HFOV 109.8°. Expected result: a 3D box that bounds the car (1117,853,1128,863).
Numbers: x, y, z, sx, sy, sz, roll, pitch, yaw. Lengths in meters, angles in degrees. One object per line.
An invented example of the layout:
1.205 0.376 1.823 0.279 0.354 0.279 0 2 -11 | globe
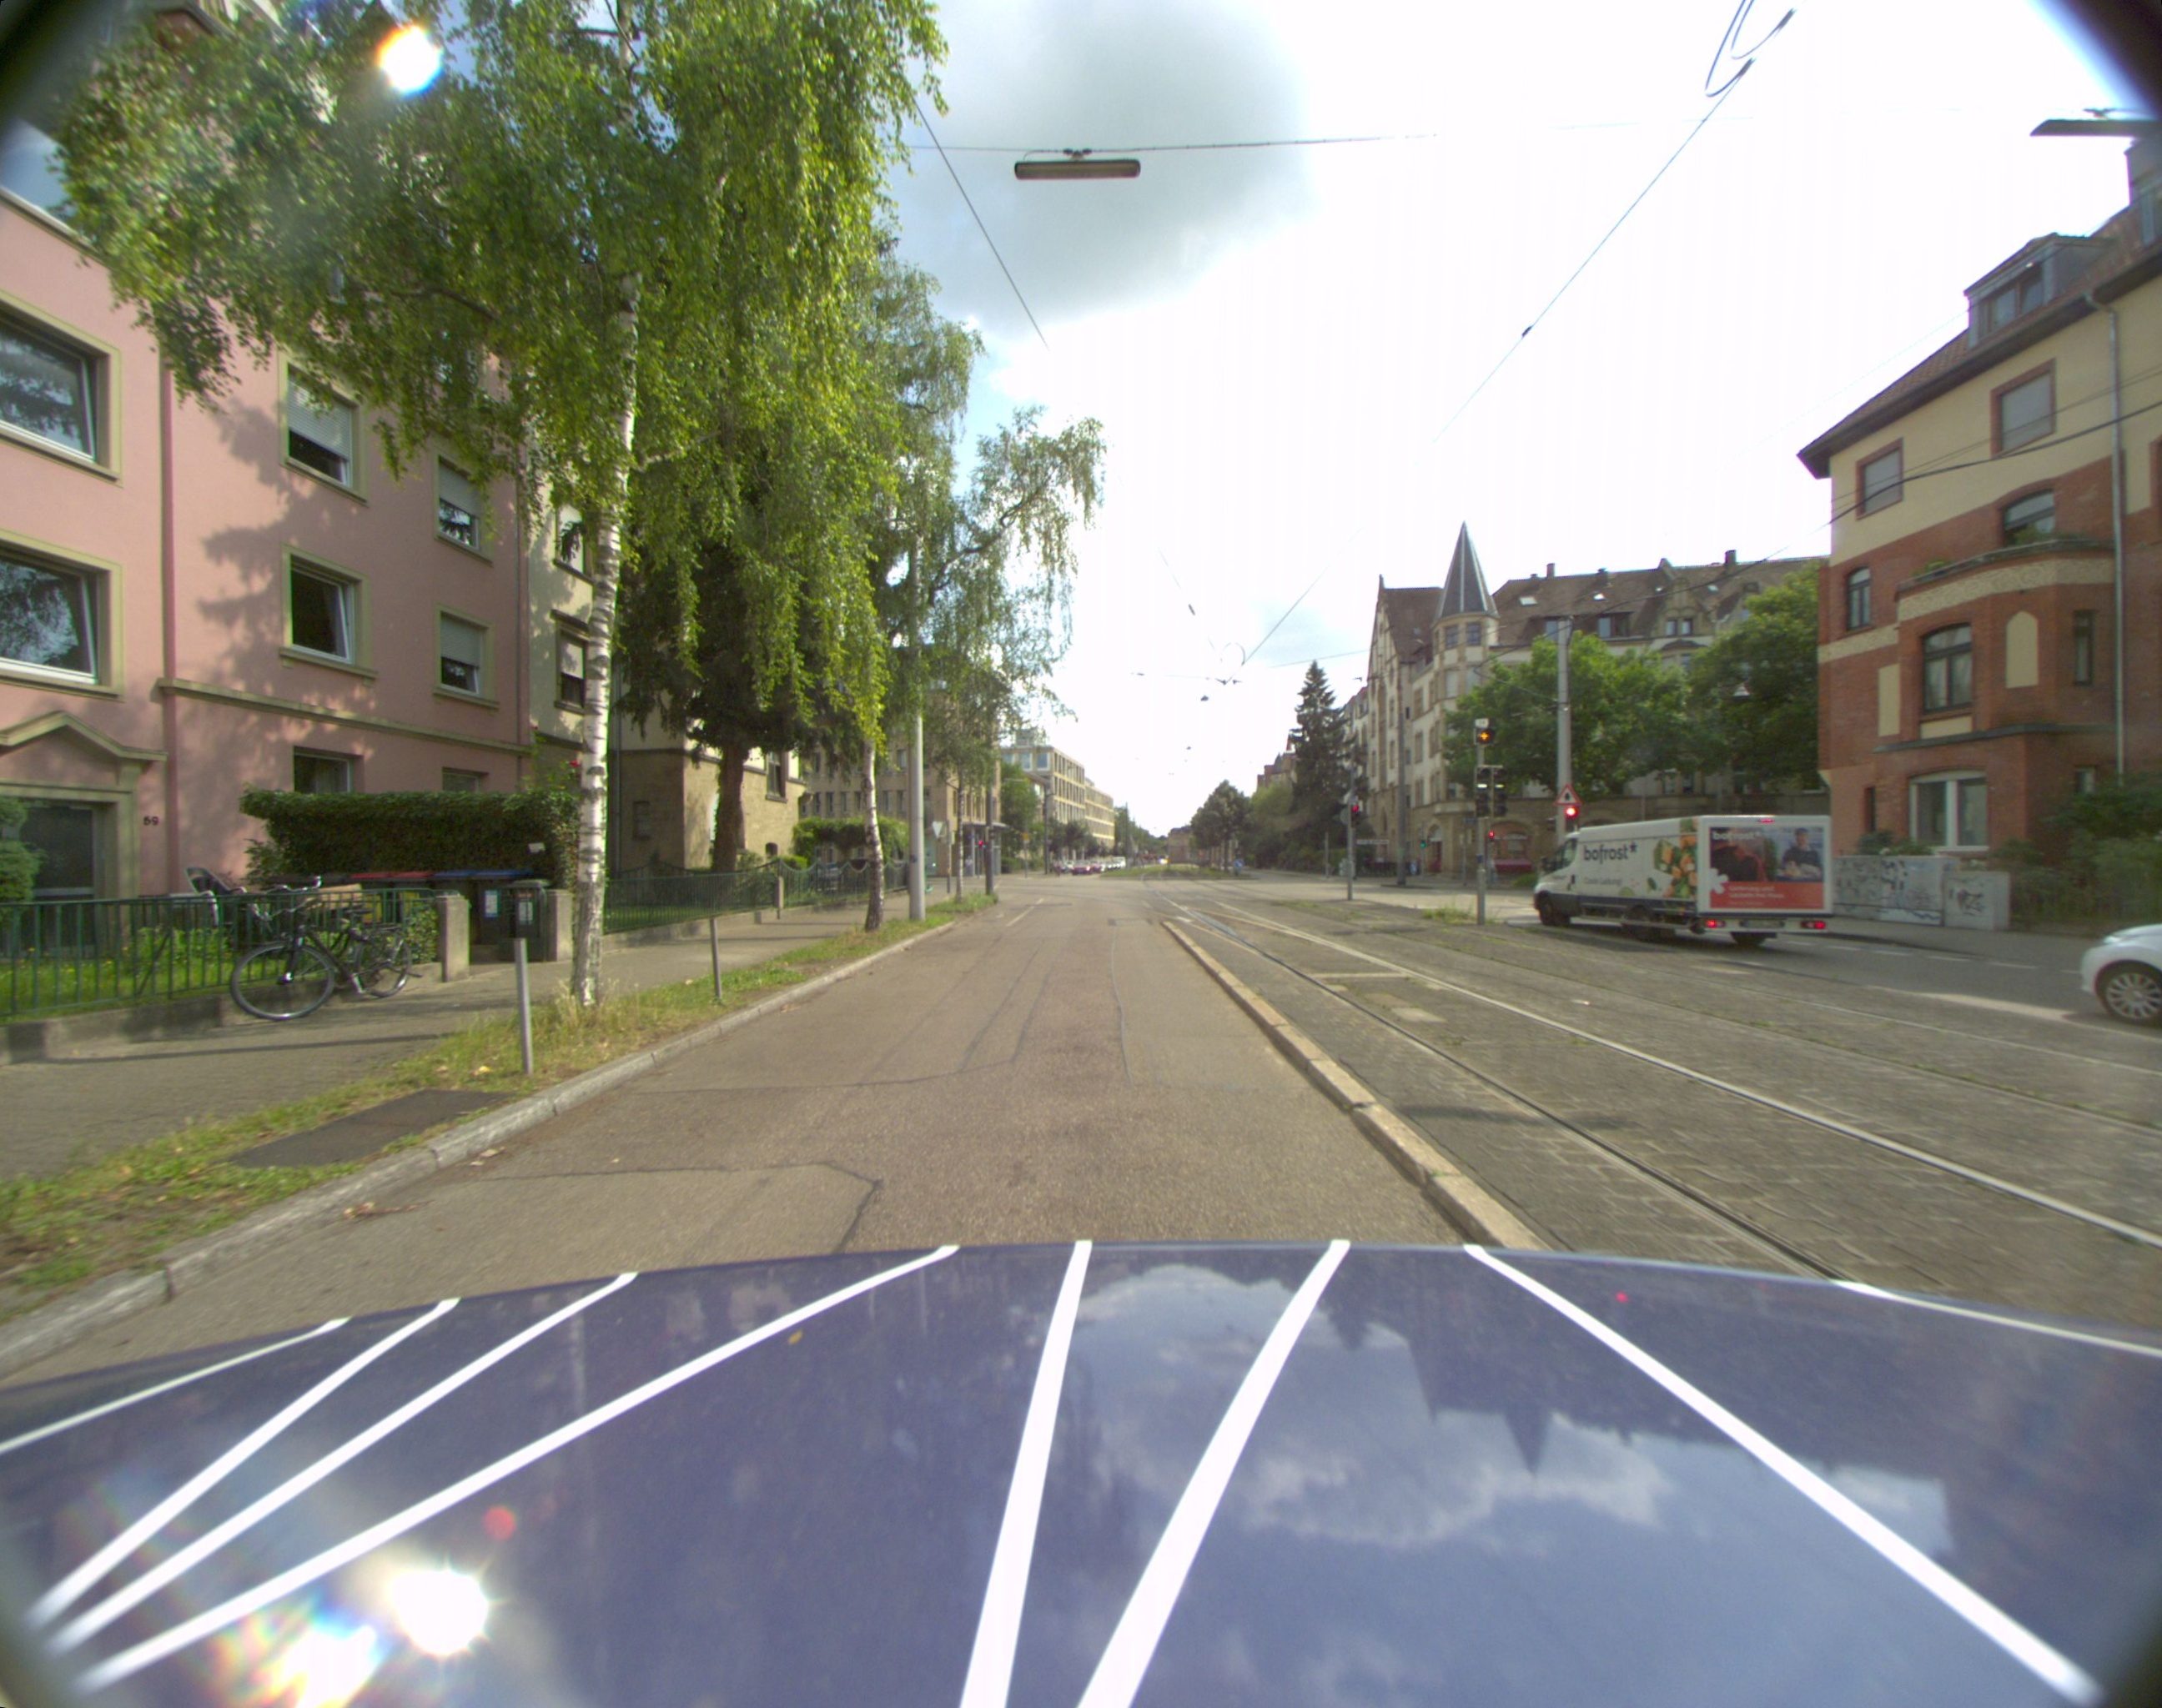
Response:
6.830 0.717 123.727 1.645 1.610 3.714 0 0 5 | car

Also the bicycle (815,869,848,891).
-10.214 1.049 31.125 1.169 0.895 0.453 0 1 1 | bicycle

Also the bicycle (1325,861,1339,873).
21.188 1.102 64.152 0.625 0.966 2.337 0 0 5 | bicycle

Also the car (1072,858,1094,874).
0.246 1.141 73.183 1.740 1.313 4.001 -2 0 5 | car

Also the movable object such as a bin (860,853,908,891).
-7.809 0.685 30.268 1.305 1.483 2.000 0 0 2 | movable object such as a bin

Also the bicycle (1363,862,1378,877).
21.309 1.140 55.999 0.591 0.967 1.629 0 2 5 | bicycle

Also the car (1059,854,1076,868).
-1.585 0.841 91.808 1.835 1.674 4.000 0 0 1 | car

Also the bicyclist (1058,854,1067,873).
-1.605 0.835 67.080 0.665 1.679 0.857 0 1 7 | bicyclist

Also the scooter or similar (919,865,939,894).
-6.411 1.049 32.140 0.521 1.172 1.188 2 0 3 | scooter or similar

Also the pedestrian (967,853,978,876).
-8.426 0.818 59.206 0.737 1.832 0.806 -1 1 -14 | pedestrian

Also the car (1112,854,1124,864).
5.631 0.796 115.917 1.579 1.549 4.002 0 0 5 | car

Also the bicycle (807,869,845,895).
-9.757 1.073 29.109 1.315 0.996 0.453 0 1 1 | bicycle

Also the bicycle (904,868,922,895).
-6.877 1.119 31.154 0.350 1.016 1.481 3 0 1 | bicycle

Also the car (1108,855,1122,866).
4.925 0.935 108.902 1.738 1.570 4.002 0 0 5 | car

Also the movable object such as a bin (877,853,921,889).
-7.740 0.716 32.417 1.305 1.483 2.000 0 0 2 | movable object such as a bin

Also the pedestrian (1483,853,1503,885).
22.494 0.788 41.480 0.932 1.730 0.771 0 0 28 | pedestrian

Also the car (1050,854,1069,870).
-2.343 0.875 83.474 1.998 1.730 4.000 0 0 0 | car

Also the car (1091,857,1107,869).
2.126 1.036 89.367 1.619 1.265 4.001 -1 0 5 | car

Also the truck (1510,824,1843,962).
11.489 0.621 15.612 2.189 2.201 6.615 1 0 6 | truck

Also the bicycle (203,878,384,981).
-9.619 0.911 9.306 1.777 1.213 0.421 0 1 1 | bicycle

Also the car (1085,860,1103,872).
1.375 1.259 80.934 1.619 1.265 4.001 -1 0 5 | car

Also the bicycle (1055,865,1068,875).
-1.692 1.393 66.418 0.771 0.885 1.893 0 0 8 | bicycle

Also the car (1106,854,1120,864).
4.313 0.702 102.839 1.619 1.265 4.001 -1 0 5 | car

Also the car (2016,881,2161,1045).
10.363 1.018 5.716 1.758 1.406 4.135 2 1 6 | car

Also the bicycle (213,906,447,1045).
-7.096 1.089 7.318 0.420 1.046 1.779 0 0 3 | bicycle
